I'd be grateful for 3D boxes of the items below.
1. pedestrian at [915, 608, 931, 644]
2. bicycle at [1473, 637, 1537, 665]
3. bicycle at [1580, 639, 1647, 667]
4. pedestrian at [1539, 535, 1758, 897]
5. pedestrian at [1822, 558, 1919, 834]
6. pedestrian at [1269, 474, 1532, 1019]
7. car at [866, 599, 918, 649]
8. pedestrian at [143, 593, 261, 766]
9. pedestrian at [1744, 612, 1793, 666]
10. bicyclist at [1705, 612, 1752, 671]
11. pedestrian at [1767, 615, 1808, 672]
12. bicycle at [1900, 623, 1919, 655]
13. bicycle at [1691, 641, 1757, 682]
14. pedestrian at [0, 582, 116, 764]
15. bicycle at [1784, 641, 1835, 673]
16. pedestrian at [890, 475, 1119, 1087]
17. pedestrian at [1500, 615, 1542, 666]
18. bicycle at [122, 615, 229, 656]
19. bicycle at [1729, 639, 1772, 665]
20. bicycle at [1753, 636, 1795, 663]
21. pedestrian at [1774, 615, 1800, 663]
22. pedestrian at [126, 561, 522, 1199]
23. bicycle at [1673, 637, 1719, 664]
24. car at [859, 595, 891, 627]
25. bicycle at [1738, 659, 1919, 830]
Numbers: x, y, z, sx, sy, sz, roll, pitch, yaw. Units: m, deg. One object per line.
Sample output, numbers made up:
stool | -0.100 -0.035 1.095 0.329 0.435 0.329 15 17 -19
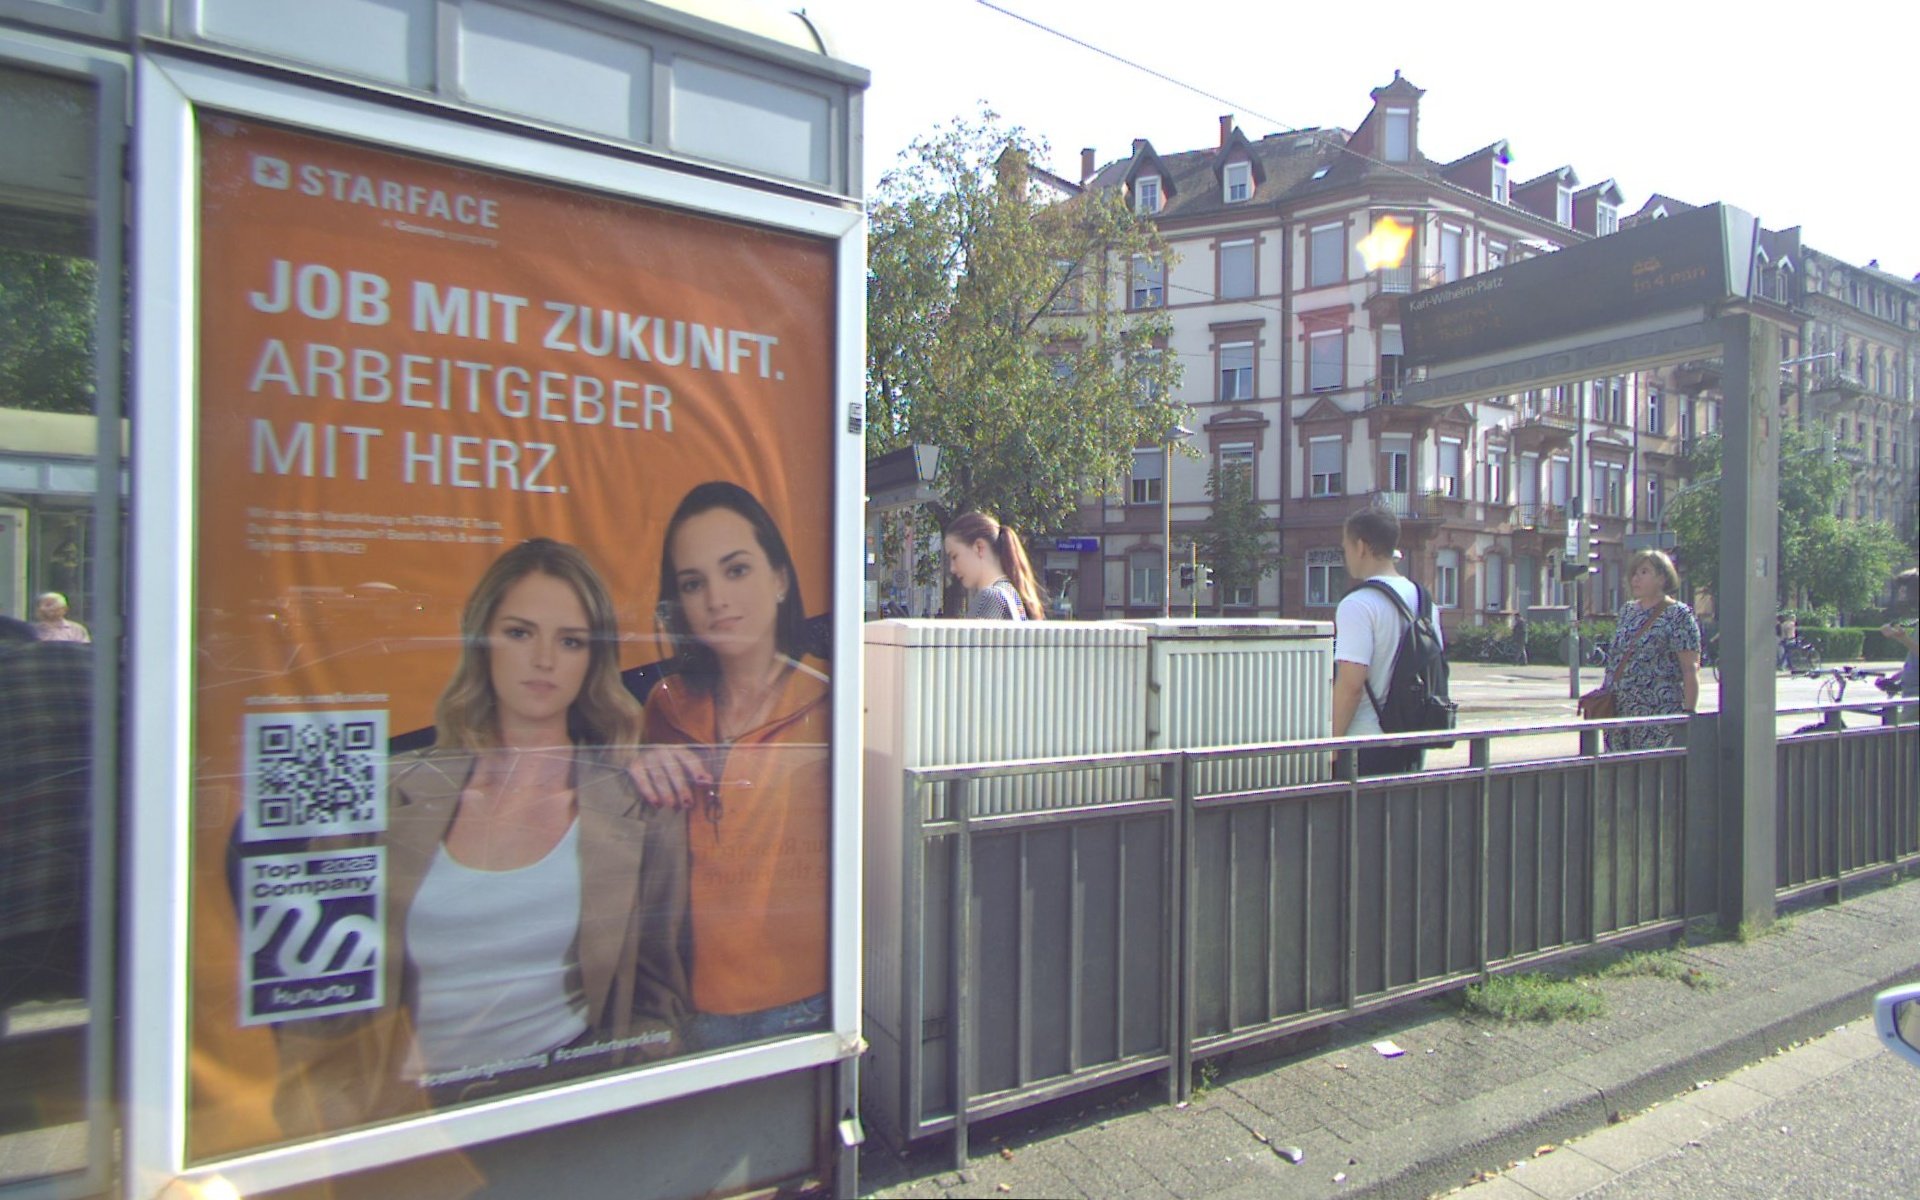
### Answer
pedestrian | -1.865 1.298 50.644 0.721 1.789 0.858 1 -1 -4
bicycle | 18.123 1.696 33.403 1.791 0.871 0.528 0 0 9
bicycle | 21.474 1.734 33.021 1.791 0.871 0.528 0 0 9
pedestrian | 3.718 0.579 5.448 0.672 1.784 0.764 1 -1 -30
pedestrian | 6.491 0.632 6.871 0.787 1.789 0.686 1 -1 -30
pedestrian | 1.666 0.499 3.820 0.721 1.830 0.601 1 -1 -30
car | -2.983 1.019 43.294 2.041 2.043 4.588 1 -1 -6
pedestrian | -6.829 0.689 9.088 0.709 1.475 0.789 1 -1 -28
pedestrian | 27.761 1.328 34.502 1.170 1.789 0.902 1 -1 -26
bicyclist | 21.634 1.164 28.278 1.031 1.636 0.670 1 -1 -27
pedestrian | 27.312 1.428 33.164 1.080 1.830 0.724 1 -1 -31
bicycle | 46.338 1.887 47.326 0.988 1.474 2.856 1 0 -35
bicycle | 21.440 1.710 28.180 2.043 1.118 0.681 1 -1 -27
pedestrian | -7.755 0.598 8.558 0.709 1.475 0.674 1 -1 -28
bicycle | 27.816 1.848 32.884 2.125 1.020 0.615 1 -1 -30
pedestrian | 0.135 0.533 3.307 0.527 1.784 0.549 1 -1 -30
pedestrian | 18.110 1.298 32.439 0.926 1.592 0.842 1 -1 5
bicycle | -22.244 1.003 28.543 2.307 1.118 0.767 1 -1 -32
bicycle | 27.721 1.811 35.208 1.680 0.871 0.524 1 -1 -27
bicycle | 29.189 1.770 36.012 1.680 0.940 0.524 1 -1 -27
pedestrian | 29.744 1.386 36.139 0.629 1.700 0.631 1 -1 -41
pedestrian | -1.328 0.640 2.184 0.615 1.396 0.683 1 -1 -29
bicycle | 25.028 1.702 34.151 1.804 0.871 0.524 1 -1 -27
car | -5.753 0.773 67.315 2.041 2.043 4.588 1 -1 -6
bicycle | 6.418 0.996 7.247 1.711 1.118 0.471 1 -1 -21
